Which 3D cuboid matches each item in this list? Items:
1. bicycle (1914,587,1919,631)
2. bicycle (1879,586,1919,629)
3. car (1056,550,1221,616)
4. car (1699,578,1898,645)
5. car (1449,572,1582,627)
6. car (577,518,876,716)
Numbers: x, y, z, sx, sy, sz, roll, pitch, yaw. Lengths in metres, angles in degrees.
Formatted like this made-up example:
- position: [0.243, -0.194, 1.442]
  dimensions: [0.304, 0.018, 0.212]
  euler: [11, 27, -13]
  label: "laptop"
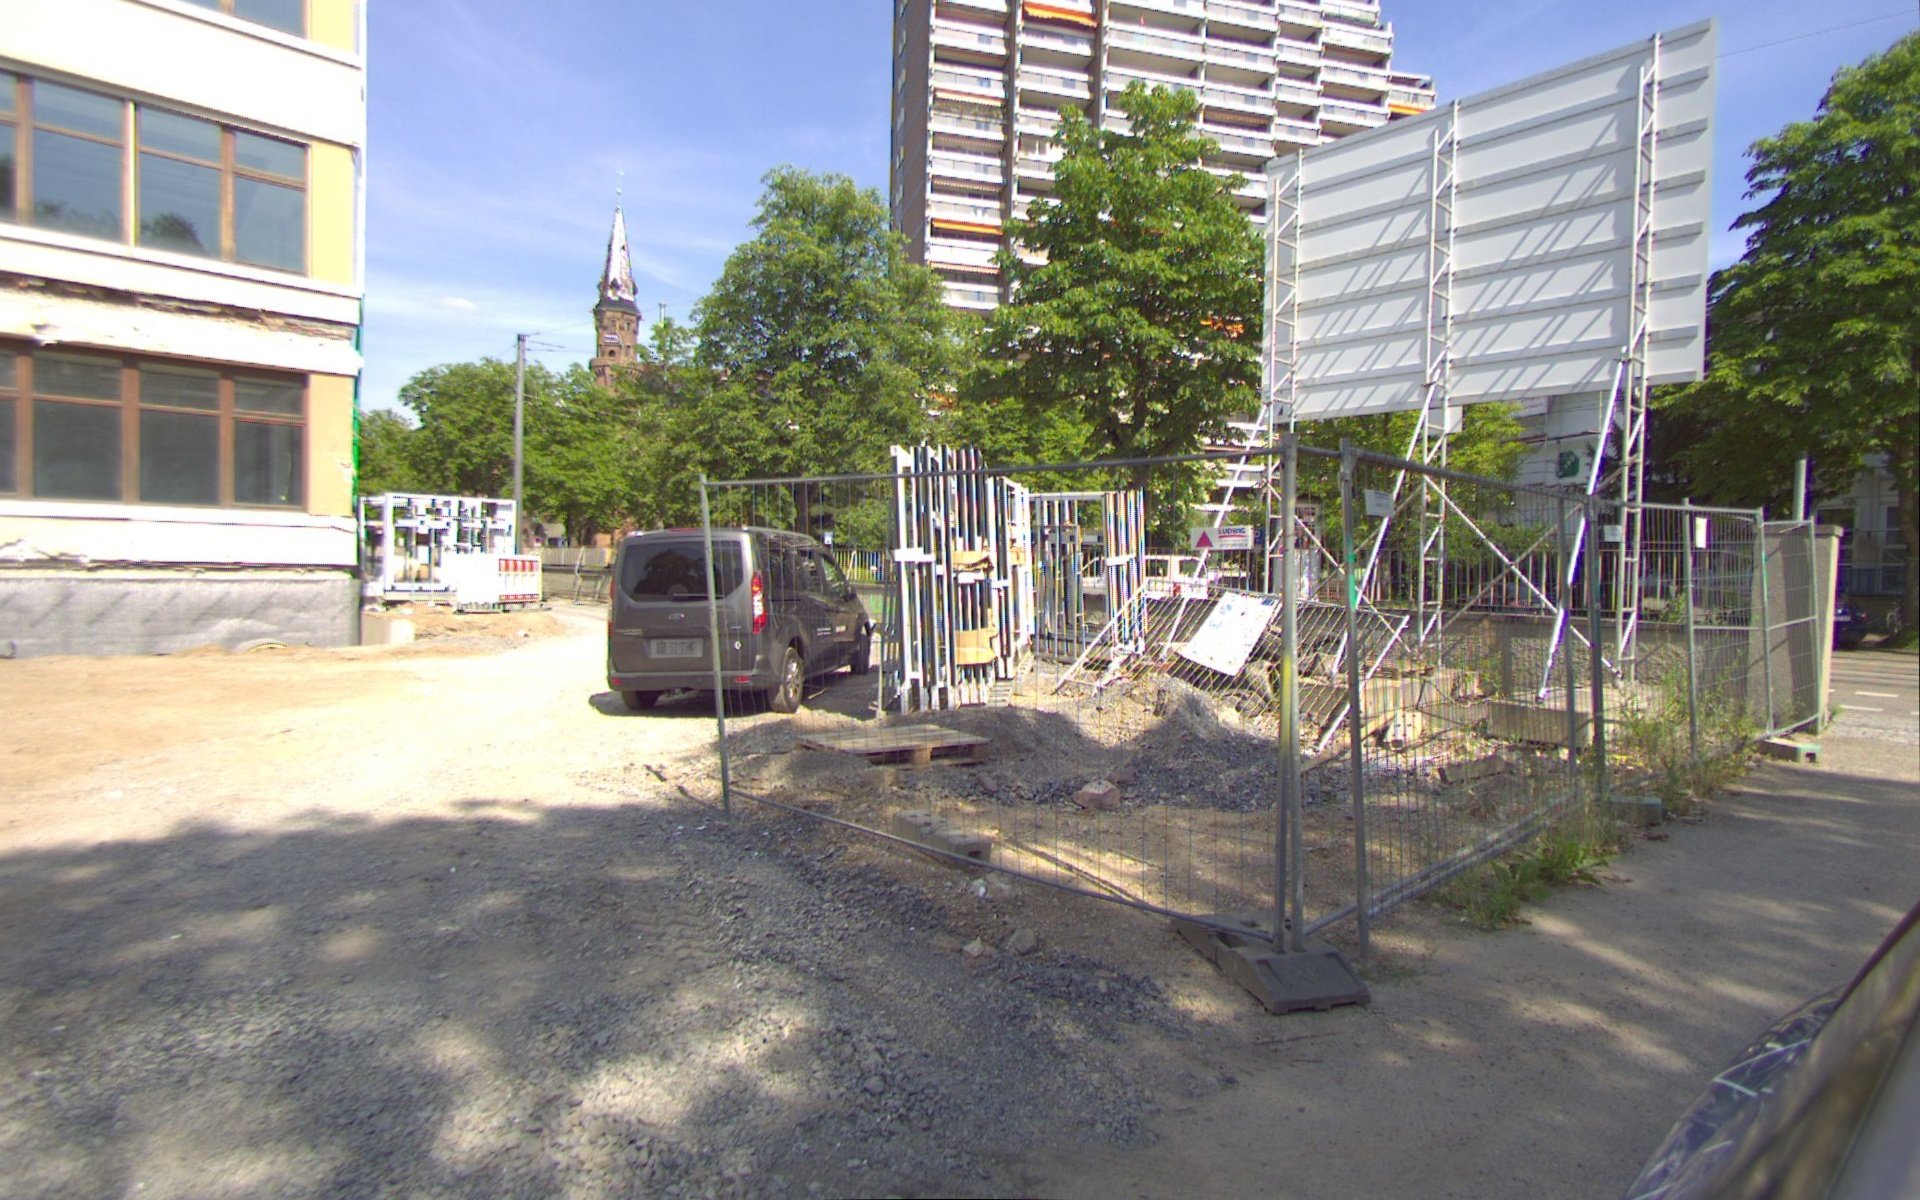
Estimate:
- position: [27.773, 0.266, 28.528]
  dimensions: [1.974, 1.214, 0.490]
  euler: [1, 1, -22]
  label: "bicycle"
- position: [27.631, 0.207, 29.452]
  dimensions: [1.974, 1.214, 0.490]
  euler: [1, 1, -24]
  label: "bicycle"
- position: [5.720, -0.597, 33.020]
  dimensions: [1.961, 1.970, 5.243]
  euler: [0, 2, -41]
  label: "car"
- position: [20.759, 0.230, 25.284]
  dimensions: [1.623, 1.469, 4.000]
  euler: [1, 2, 1]
  label: "car"
- position: [16.470, -0.059, 30.266]
  dimensions: [1.809, 1.427, 4.147]
  euler: [0, 3, 3]
  label: "car"
- position: [-2.362, 0.084, 11.509]
  dimensions: [1.890, 1.802, 4.303]
  euler: [0, 2, 8]
  label: "car"
